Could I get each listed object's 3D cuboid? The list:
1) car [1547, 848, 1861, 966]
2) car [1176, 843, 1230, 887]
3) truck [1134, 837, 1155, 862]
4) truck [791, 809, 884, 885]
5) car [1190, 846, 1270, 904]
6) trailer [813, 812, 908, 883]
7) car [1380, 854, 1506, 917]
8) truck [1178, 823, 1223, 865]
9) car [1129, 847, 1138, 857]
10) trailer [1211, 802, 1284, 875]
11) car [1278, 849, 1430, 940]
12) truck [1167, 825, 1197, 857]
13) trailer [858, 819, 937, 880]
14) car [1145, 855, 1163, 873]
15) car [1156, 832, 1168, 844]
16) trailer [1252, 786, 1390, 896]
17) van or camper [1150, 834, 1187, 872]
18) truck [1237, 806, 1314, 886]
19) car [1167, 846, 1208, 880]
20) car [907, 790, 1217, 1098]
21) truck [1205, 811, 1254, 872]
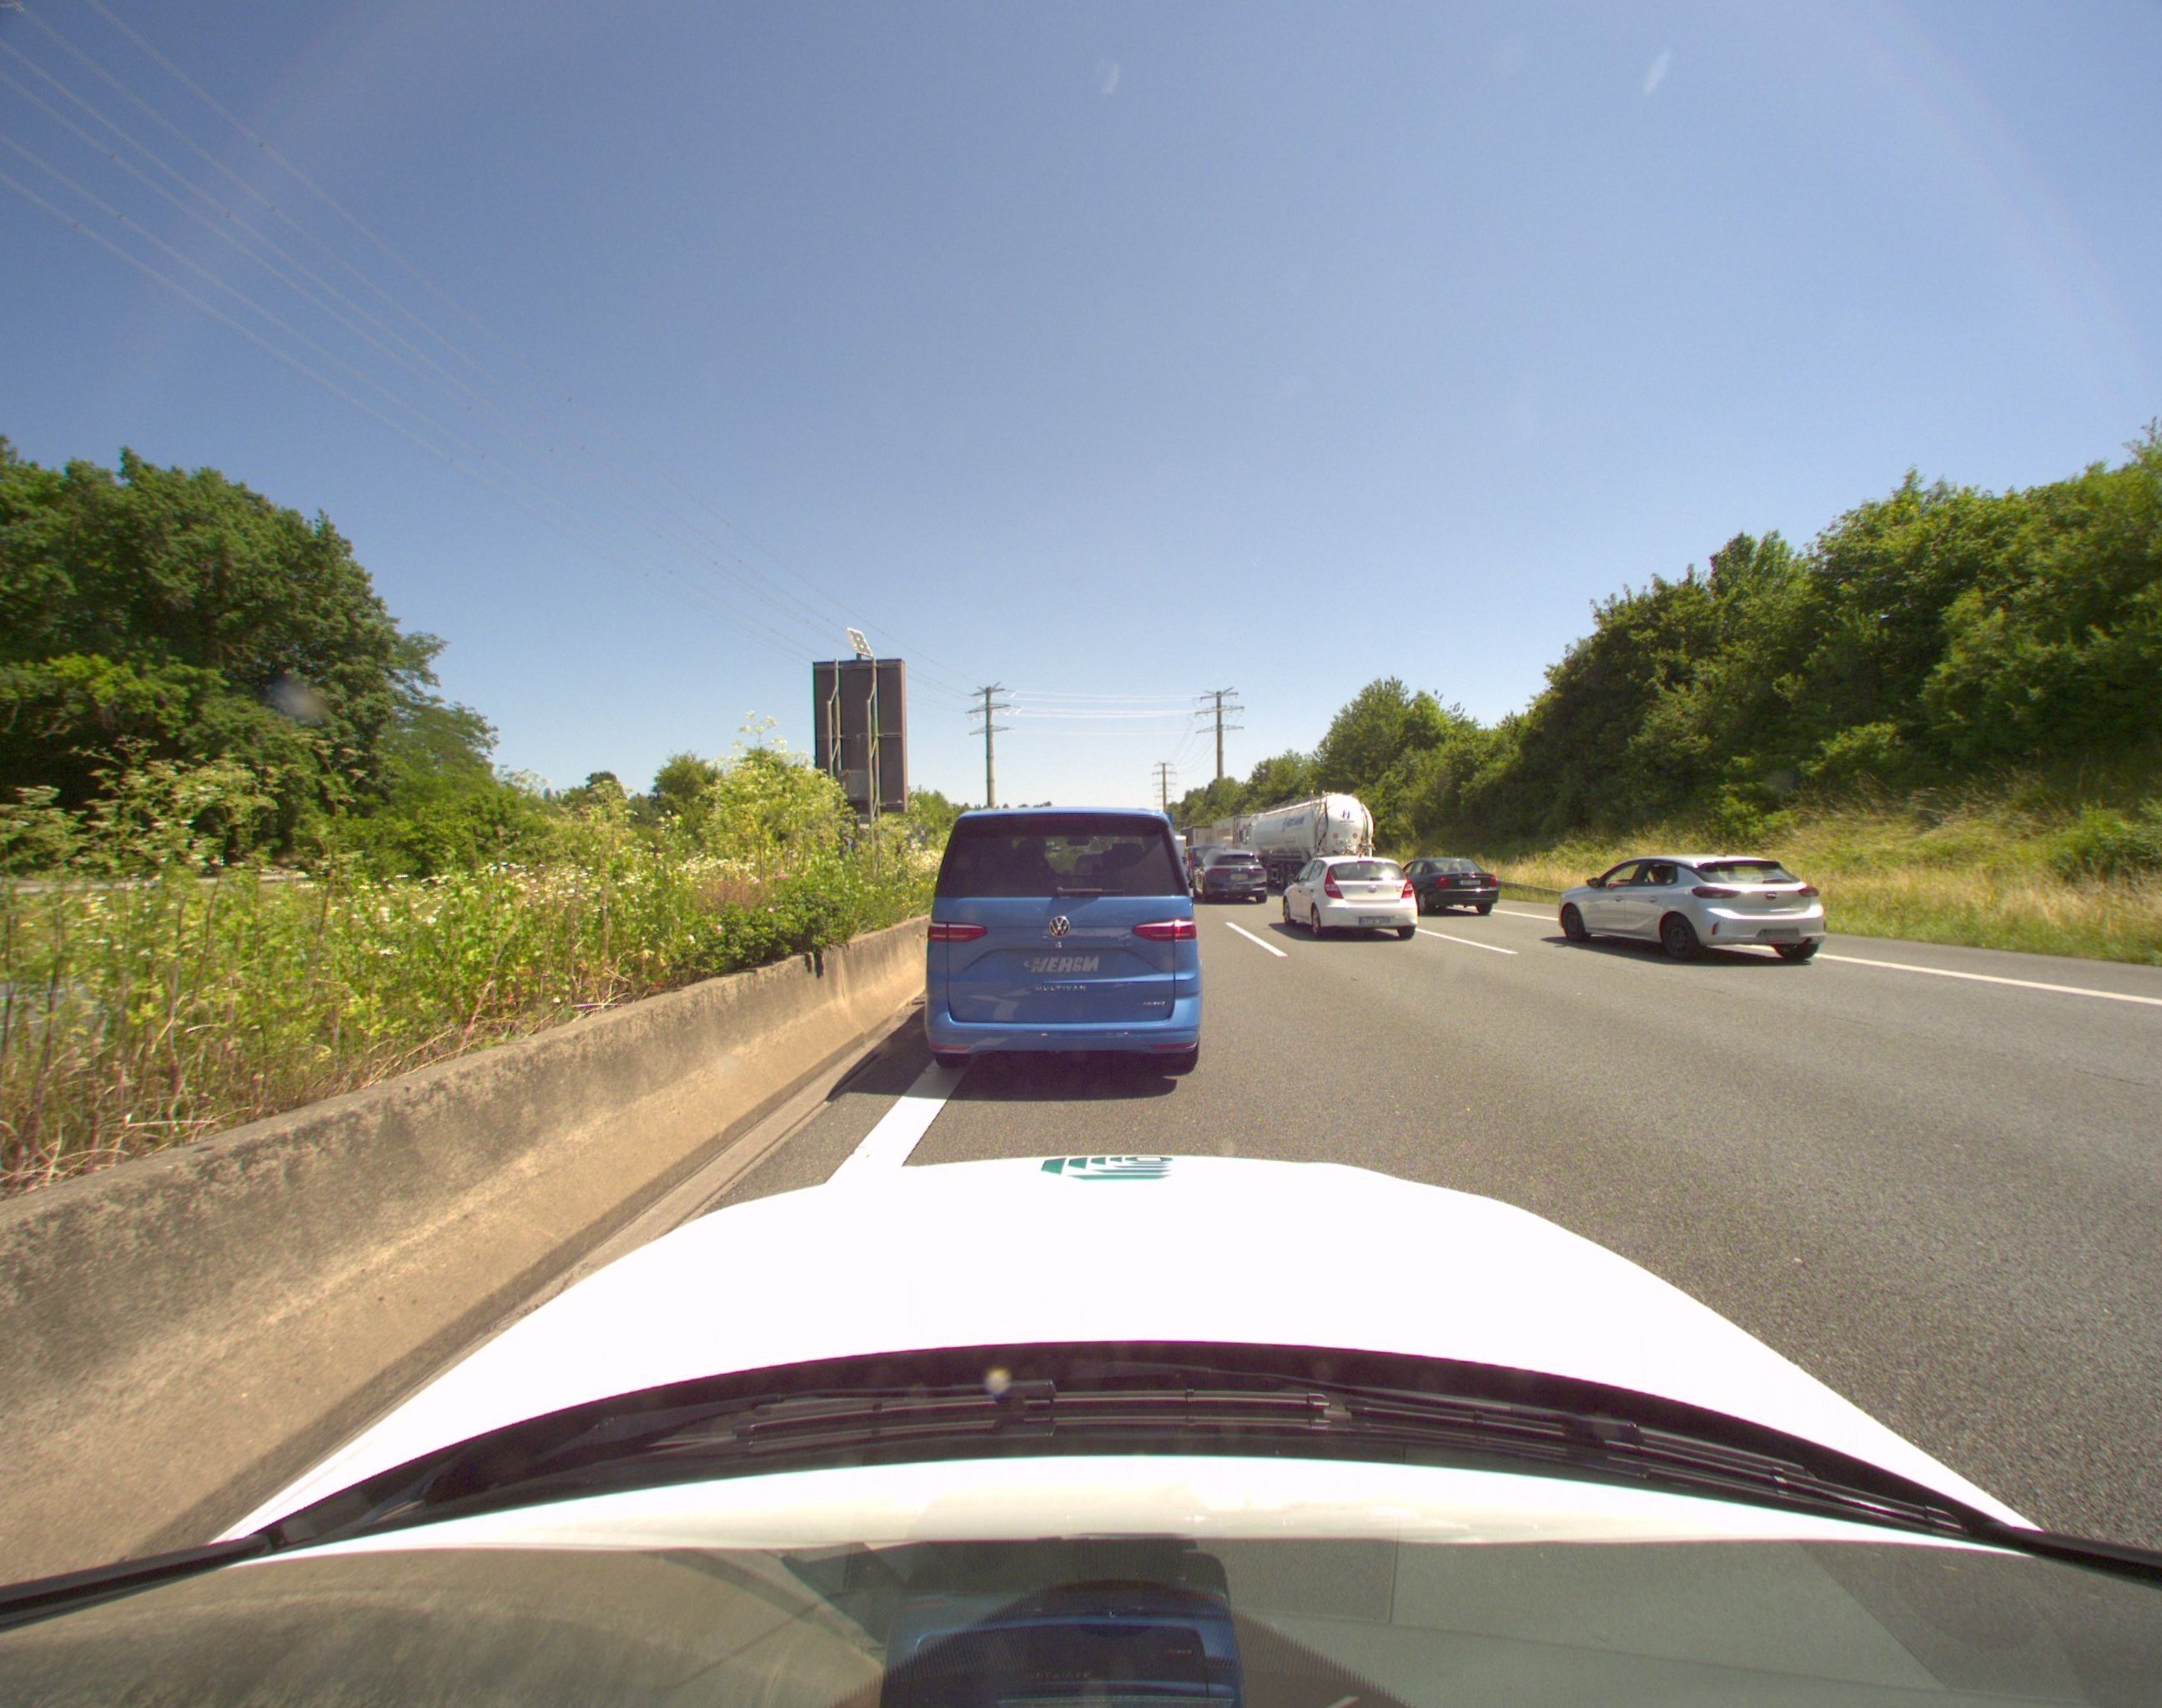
[{"bbox_3d":[8.975,0.655,12.251,1.724,1.443,4.030,-2,0,2],"label":"car"},{"bbox_3d":[5.813,0.546,39.294,1.917,1.925,4.234,-2,-1,0],"label":"car"},{"bbox_3d":[9.786,-0.615,125.612,2.883,3.766,10.148,-1,-1,3],"label":"truck"},{"bbox_3d":[-12.807,-0.349,43.329,3.060,3.709,5.465,-1,0,2],"label":"truck"},{"bbox_3d":[4.861,0.668,27.161,1.991,1.715,4.628,-2,-1,3],"label":"car"},{"bbox_3d":[-12.679,-0.334,47.695,3.113,3.759,7.872,-1,0,2],"label":"trailer"},{"bbox_3d":[9.284,0.773,21.242,1.634,1.416,3.991,-2,-1,3],"label":"car"},{"bbox_3d":[11.903,-0.807,82.332,2.993,3.766,15.724,-1,-1,3],"label":"truck"},{"bbox_3d":[12.257,-0.411,190.886,1.986,2.126,4.001,-1,-1,2],"label":"car"},{"bbox_3d":[11.338,-0.937,56.908,2.901,4.469,12.158,-2,0,2],"label":"trailer"},{"bbox_3d":[5.119,0.721,15.840,1.809,1.485,4.003,-2,-1,3],"label":"car"},{"bbox_3d":[13.047,-1.524,106.196,2.883,3.766,13.354,-1,-1,3],"label":"truck"},{"bbox_3d":[-12.315,-0.278,55.643,3.170,3.762,8.204,-2,0,2],"label":"trailer"},{"bbox_3d":[8.352,1.127,93.499,1.828,1.998,4.004,-2,-1,4],"label":"car"},{"bbox_3d":[14.663,-2.902,147.769,1.985,2.014,4.002,-1,-1,2],"label":"car"},{"bbox_3d":[9.781,-0.428,34.869,2.751,3.845,11.490,-2,0,2],"label":"trailer"},{"bbox_3d":[7.567,-0.048,71.160,2.944,3.022,7.109,-1,-1,4],"label":"van or camper"},{"bbox_3d":[9.999,-0.389,42.435,2.782,3.836,5.574,-2,0,2],"label":"truck"},{"bbox_3d":[6.617,0.580,51.074,1.917,1.925,4.234,-2,-1,0],"label":"car"},{"bbox_3d":[-0.036,0.547,7.011,1.912,1.886,4.002,0,0,2],"label":"car"},{"bbox_3d":[11.530,-0.940,63.551,2.901,4.469,5.144,-2,0,2],"label":"truck"}]
